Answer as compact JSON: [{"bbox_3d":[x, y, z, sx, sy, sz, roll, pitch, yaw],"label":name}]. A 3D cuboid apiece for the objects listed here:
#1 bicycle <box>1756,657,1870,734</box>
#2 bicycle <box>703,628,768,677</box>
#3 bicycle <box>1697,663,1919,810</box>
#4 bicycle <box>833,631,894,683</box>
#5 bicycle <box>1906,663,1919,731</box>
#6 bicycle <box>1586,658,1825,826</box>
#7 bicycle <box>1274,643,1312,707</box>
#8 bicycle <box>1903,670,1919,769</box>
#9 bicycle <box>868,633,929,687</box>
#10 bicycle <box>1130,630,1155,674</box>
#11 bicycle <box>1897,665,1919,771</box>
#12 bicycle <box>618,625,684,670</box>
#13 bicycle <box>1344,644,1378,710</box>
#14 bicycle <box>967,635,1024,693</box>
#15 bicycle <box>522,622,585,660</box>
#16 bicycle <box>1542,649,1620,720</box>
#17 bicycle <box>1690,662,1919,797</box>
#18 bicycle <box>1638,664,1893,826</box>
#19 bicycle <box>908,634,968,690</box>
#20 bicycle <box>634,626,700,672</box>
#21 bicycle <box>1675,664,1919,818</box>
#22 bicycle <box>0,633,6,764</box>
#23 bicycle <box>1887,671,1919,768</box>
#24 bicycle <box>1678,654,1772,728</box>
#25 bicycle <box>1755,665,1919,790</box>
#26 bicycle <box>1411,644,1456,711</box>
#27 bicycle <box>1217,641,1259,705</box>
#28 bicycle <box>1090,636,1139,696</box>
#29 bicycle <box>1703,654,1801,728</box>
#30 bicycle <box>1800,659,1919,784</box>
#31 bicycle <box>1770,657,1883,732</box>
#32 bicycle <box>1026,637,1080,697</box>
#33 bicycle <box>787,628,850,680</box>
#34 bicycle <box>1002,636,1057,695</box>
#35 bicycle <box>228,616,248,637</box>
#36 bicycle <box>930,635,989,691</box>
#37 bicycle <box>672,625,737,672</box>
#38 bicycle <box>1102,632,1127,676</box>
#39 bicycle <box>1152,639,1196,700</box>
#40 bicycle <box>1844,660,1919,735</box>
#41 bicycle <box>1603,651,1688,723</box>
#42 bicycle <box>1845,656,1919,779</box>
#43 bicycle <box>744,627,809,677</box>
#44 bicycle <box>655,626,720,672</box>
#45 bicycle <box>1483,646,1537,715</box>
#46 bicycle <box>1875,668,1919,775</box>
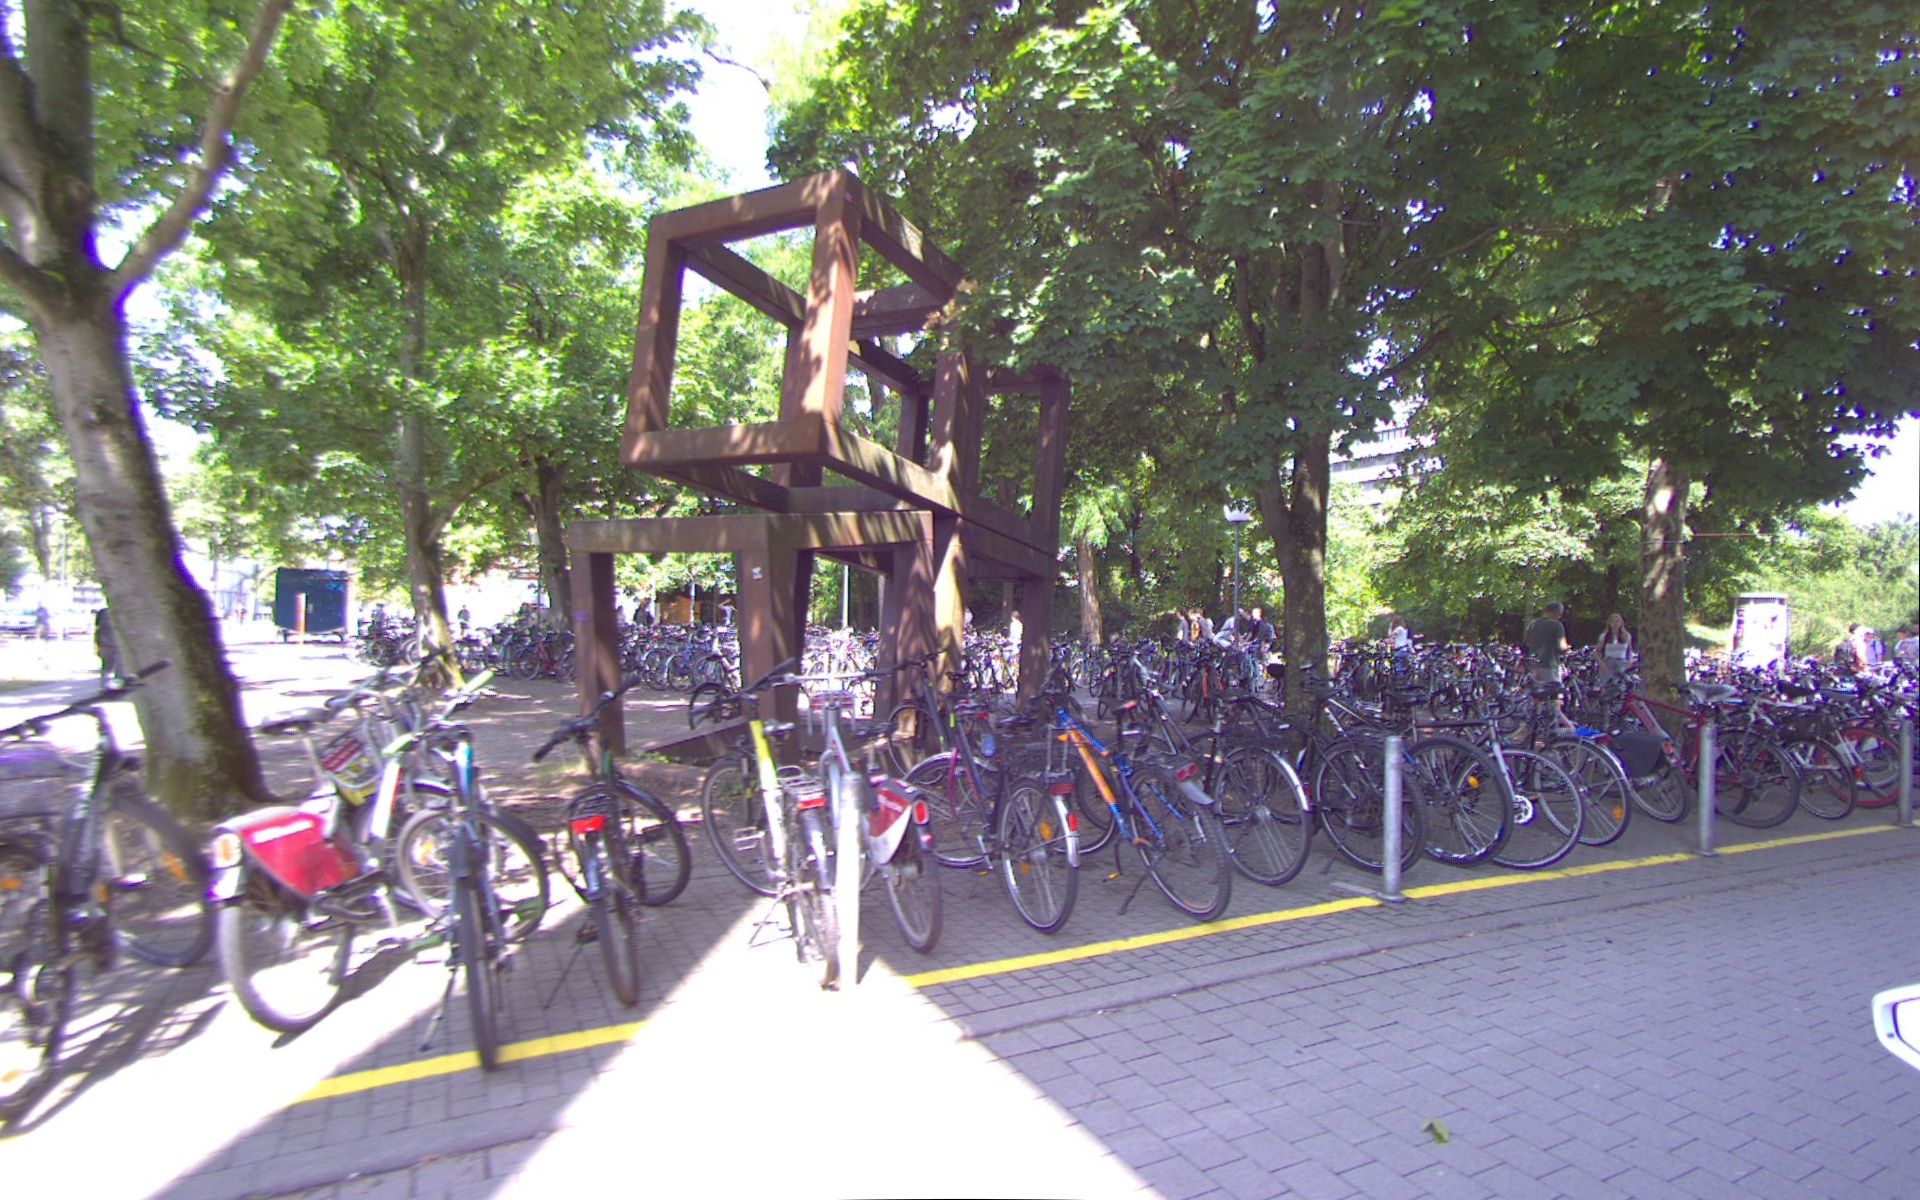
[{"bbox_3d":[13.779,1.519,16.280,0.464,1.098,1.700,2,-1,4],"label":"bicycle"},{"bbox_3d":[-5.318,1.223,23.925,0.465,1.098,1.858,2,-1,24],"label":"bicycle"},{"bbox_3d":[7.938,1.209,9.294,0.491,1.141,1.725,2,-1,-32],"label":"bicycle"},{"bbox_3d":[-2.126,1.247,22.337,0.465,1.098,1.858,2,-1,24],"label":"bicycle"},{"bbox_3d":[16.063,1.604,15.821,0.466,1.098,1.695,2,-1,-14],"label":"bicycle"},{"bbox_3d":[6.070,1.111,8.297,0.488,1.159,1.625,2,-1,-14],"label":"bicycle"},{"bbox_3d":[6.168,1.361,18.565,0.465,1.098,1.698,2,-1,24],"label":"bicycle"},{"bbox_3d":[11.663,1.394,11.150,0.470,1.123,1.680,2,-1,-39],"label":"bicycle"},{"bbox_3d":[-1.308,1.277,21.799,0.465,1.098,1.858,2,-1,24],"label":"bicycle"},{"bbox_3d":[5.021,1.417,27.595,0.507,1.125,1.779,2,-1,14],"label":"bicycle"},{"bbox_3d":[11.313,1.342,10.845,0.470,1.160,1.680,2,-1,-39],"label":"bicycle"},{"bbox_3d":[-7.867,1.202,25.679,0.465,1.098,1.858,2,-1,24],"label":"bicycle"},{"bbox_3d":[7.345,1.383,18.361,0.465,1.098,1.698,2,-1,24],"label":"bicycle"},{"bbox_3d":[0.745,1.288,20.508,0.465,1.098,1.858,2,-1,24],"label":"bicycle"},{"bbox_3d":[-12.210,1.219,30.225,0.466,1.098,1.855,2,-1,30],"label":"bicycle"},{"bbox_3d":[10.625,1.417,17.232,0.464,1.098,1.701,2,-1,8],"label":"bicycle"},{"bbox_3d":[8.320,1.235,9.958,1.714,1.123,0.495,2,-1,39],"label":"bicycle"},{"bbox_3d":[6.700,1.157,8.481,0.564,1.123,1.738,2,-1,-8],"label":"bicycle"},{"bbox_3d":[-0.440,1.276,21.205,0.465,1.098,1.858,2,-1,24],"label":"bicycle"},{"bbox_3d":[-7.364,1.220,25.358,0.465,1.098,1.858,2,-1,24],"label":"bicycle"},{"bbox_3d":[7.441,1.187,8.923,0.491,1.123,1.728,2,-1,-27],"label":"bicycle"},{"bbox_3d":[-7.853,0.845,7.734,0.389,1.123,1.822,2,-1,-34],"label":"bicycle"},{"bbox_3d":[11.862,1.438,11.566,0.470,1.123,1.681,2,-1,-38],"label":"bicycle"},{"bbox_3d":[12.826,1.499,16.898,0.464,1.098,1.701,2,-1,8],"label":"bicycle"},{"bbox_3d":[9.174,1.270,10.137,0.493,1.123,1.720,2,-1,-40],"label":"bicycle"},{"bbox_3d":[8.573,1.380,18.224,0.464,1.098,1.700,2,-1,17],"label":"bicycle"},{"bbox_3d":[5.190,1.325,18.680,0.465,1.098,1.698,2,-1,24],"label":"bicycle"},{"bbox_3d":[3.051,1.275,19.719,0.465,1.098,1.698,2,-1,24],"label":"bicycle"},{"bbox_3d":[13.302,1.496,16.926,0.464,1.098,1.701,2,-1,8],"label":"bicycle"},{"bbox_3d":[9.830,1.261,10.355,0.491,1.194,1.728,2,-1,-28],"label":"bicycle"},{"bbox_3d":[14.287,1.530,16.616,0.464,1.098,1.700,2,-1,4],"label":"bicycle"},{"bbox_3d":[1.870,1.305,19.974,0.465,1.098,1.858,2,-1,24],"label":"bicycle"},{"bbox_3d":[-3.175,1.200,22.682,0.465,1.098,1.858,2,-1,24],"label":"bicycle"},{"bbox_3d":[1.430,1.300,20.330,0.465,1.098,1.858,2,-1,24],"label":"bicycle"},{"bbox_3d":[-40.778,1.485,56.713,1.674,1.098,0.472,2,-1,40],"label":"bicycle"},{"bbox_3d":[0.011,1.286,20.945,0.465,1.098,1.858,2,-1,24],"label":"bicycle"},{"bbox_3d":[-6.288,1.174,24.852,0.465,1.098,1.858,2,-1,24],"label":"bicycle"},{"bbox_3d":[4.283,1.470,27.765,0.507,1.125,1.779,2,-1,14],"label":"bicycle"},{"bbox_3d":[4.212,1.337,19.666,0.465,1.098,1.698,2,-1,24],"label":"bicycle"},{"bbox_3d":[15.143,1.560,16.182,0.464,1.098,1.701,2,-1,7],"label":"bicycle"},{"bbox_3d":[11.716,1.456,17.227,0.464,1.098,1.701,2,-1,8],"label":"bicycle"},{"bbox_3d":[10.406,1.262,10.446,0.492,1.252,1.724,2,-1,-34],"label":"bicycle"},{"bbox_3d":[-4.227,1.180,23.241,0.465,1.098,1.858,2,-1,24],"label":"bicycle"},{"bbox_3d":[-6.827,1.220,25.221,0.465,1.098,1.858,2,-1,24],"label":"bicycle"},{"bbox_3d":[9.676,1.397,17.707,0.464,1.098,1.700,2,-1,17],"label":"bicycle"},{"bbox_3d":[10.850,1.341,10.612,0.492,1.123,1.681,2,-1,-38],"label":"bicycle"}]
